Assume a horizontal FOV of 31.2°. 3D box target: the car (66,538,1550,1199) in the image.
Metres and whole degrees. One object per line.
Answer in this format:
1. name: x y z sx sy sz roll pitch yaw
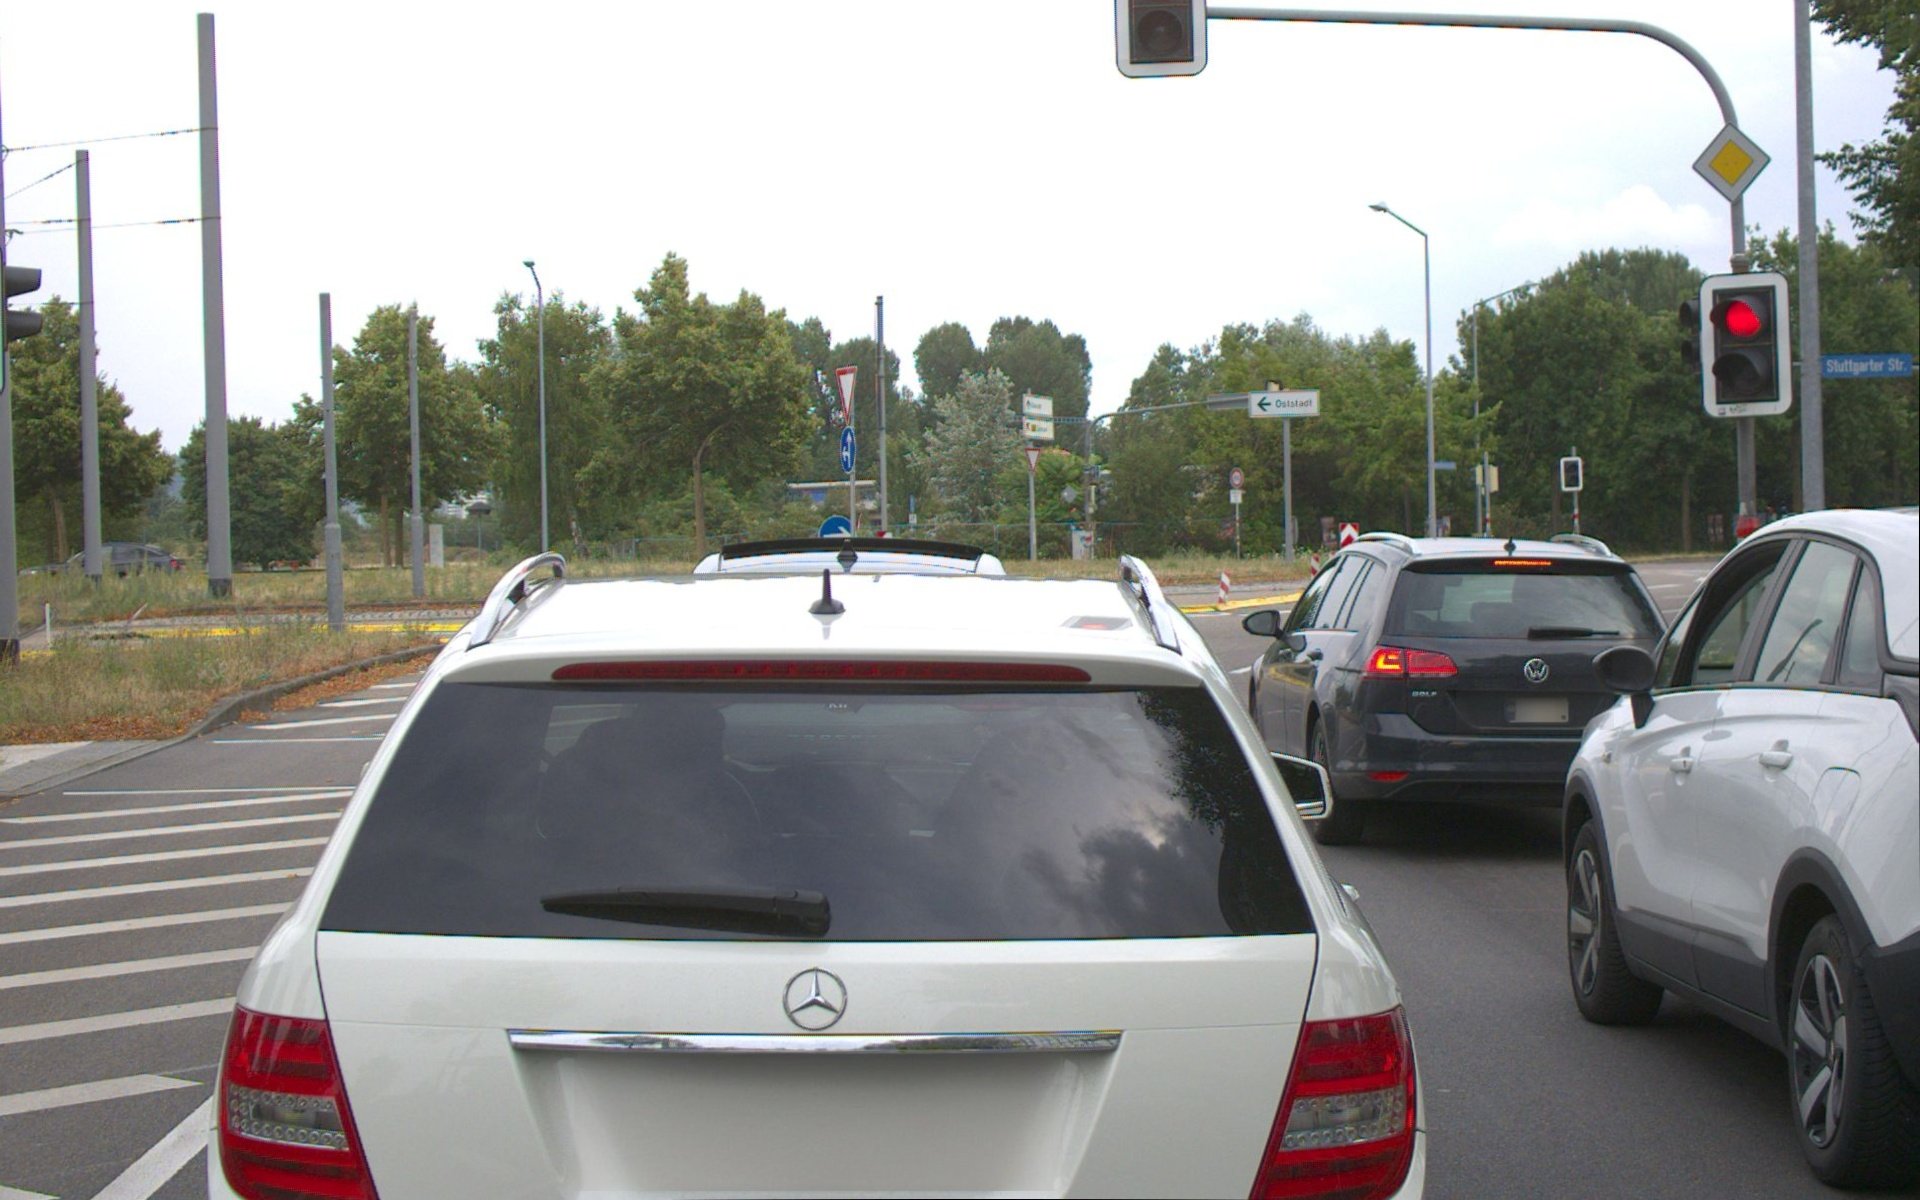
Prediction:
1. car: -0.264 0.628 6.085 1.773 1.443 3.911 0 1 -2

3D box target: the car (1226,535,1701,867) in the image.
1. car: 2.377 0.413 17.150 1.624 1.443 3.911 0 1 -2

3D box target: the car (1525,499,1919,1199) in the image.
1. car: 2.741 0.542 9.116 1.787 1.619 3.911 -1 1 0

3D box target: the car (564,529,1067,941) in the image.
1. car: -0.595 0.441 14.157 1.773 1.443 3.911 0 1 -2

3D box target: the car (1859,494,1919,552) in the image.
1. car: 27.330 -2.233 99.303 1.786 1.630 4.396 0 1 26

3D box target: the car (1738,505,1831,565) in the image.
1. car: 25.943 -2.024 108.093 1.996 1.784 3.994 2 1 26
